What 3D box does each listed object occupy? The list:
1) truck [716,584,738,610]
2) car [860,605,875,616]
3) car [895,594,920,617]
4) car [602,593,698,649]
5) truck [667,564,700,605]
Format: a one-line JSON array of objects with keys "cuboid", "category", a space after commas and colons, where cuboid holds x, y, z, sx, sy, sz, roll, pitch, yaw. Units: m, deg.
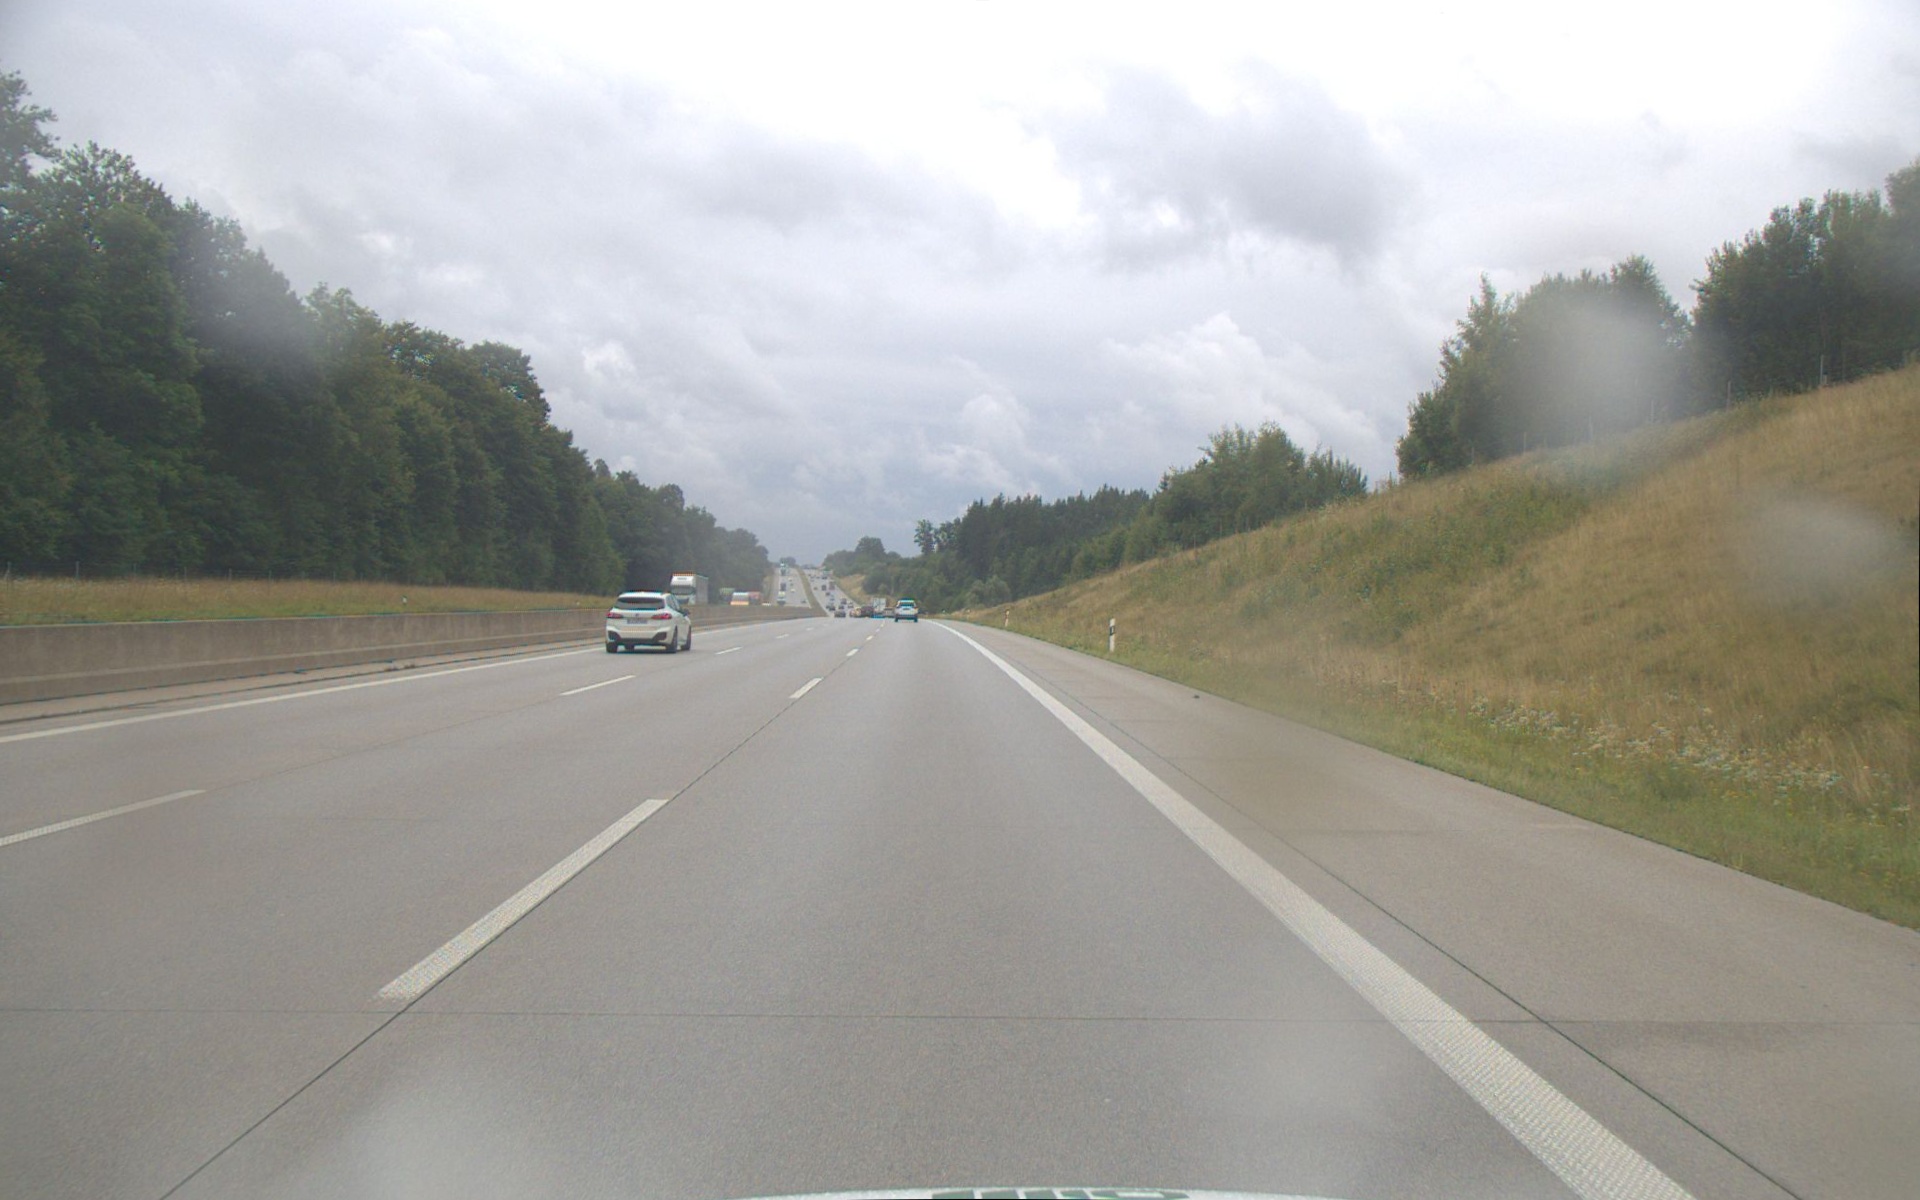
[{"cuboid": [-34.369, -0.419, 243.808, 2.725, 3.806, 5.656, 1, 0, -3], "category": "truck"}, {"cuboid": [-12.565, 1.479, 224.853, 1.898, 1.399, 4.589, 1, 0, -5], "category": "car"}, {"cuboid": [-4.097, 0.420, 128.749, 1.789, 1.684, 3.983, 1, 0, -3], "category": "car"}, {"cuboid": [-8.156, 0.543, 43.827, 1.908, 1.379, 4.257, 1, 0, -3], "category": "car"}, {"cuboid": [-29.062, -1.565, 174.019, 2.458, 4.198, 6.458, 1, 0, -2], "category": "truck"}]
